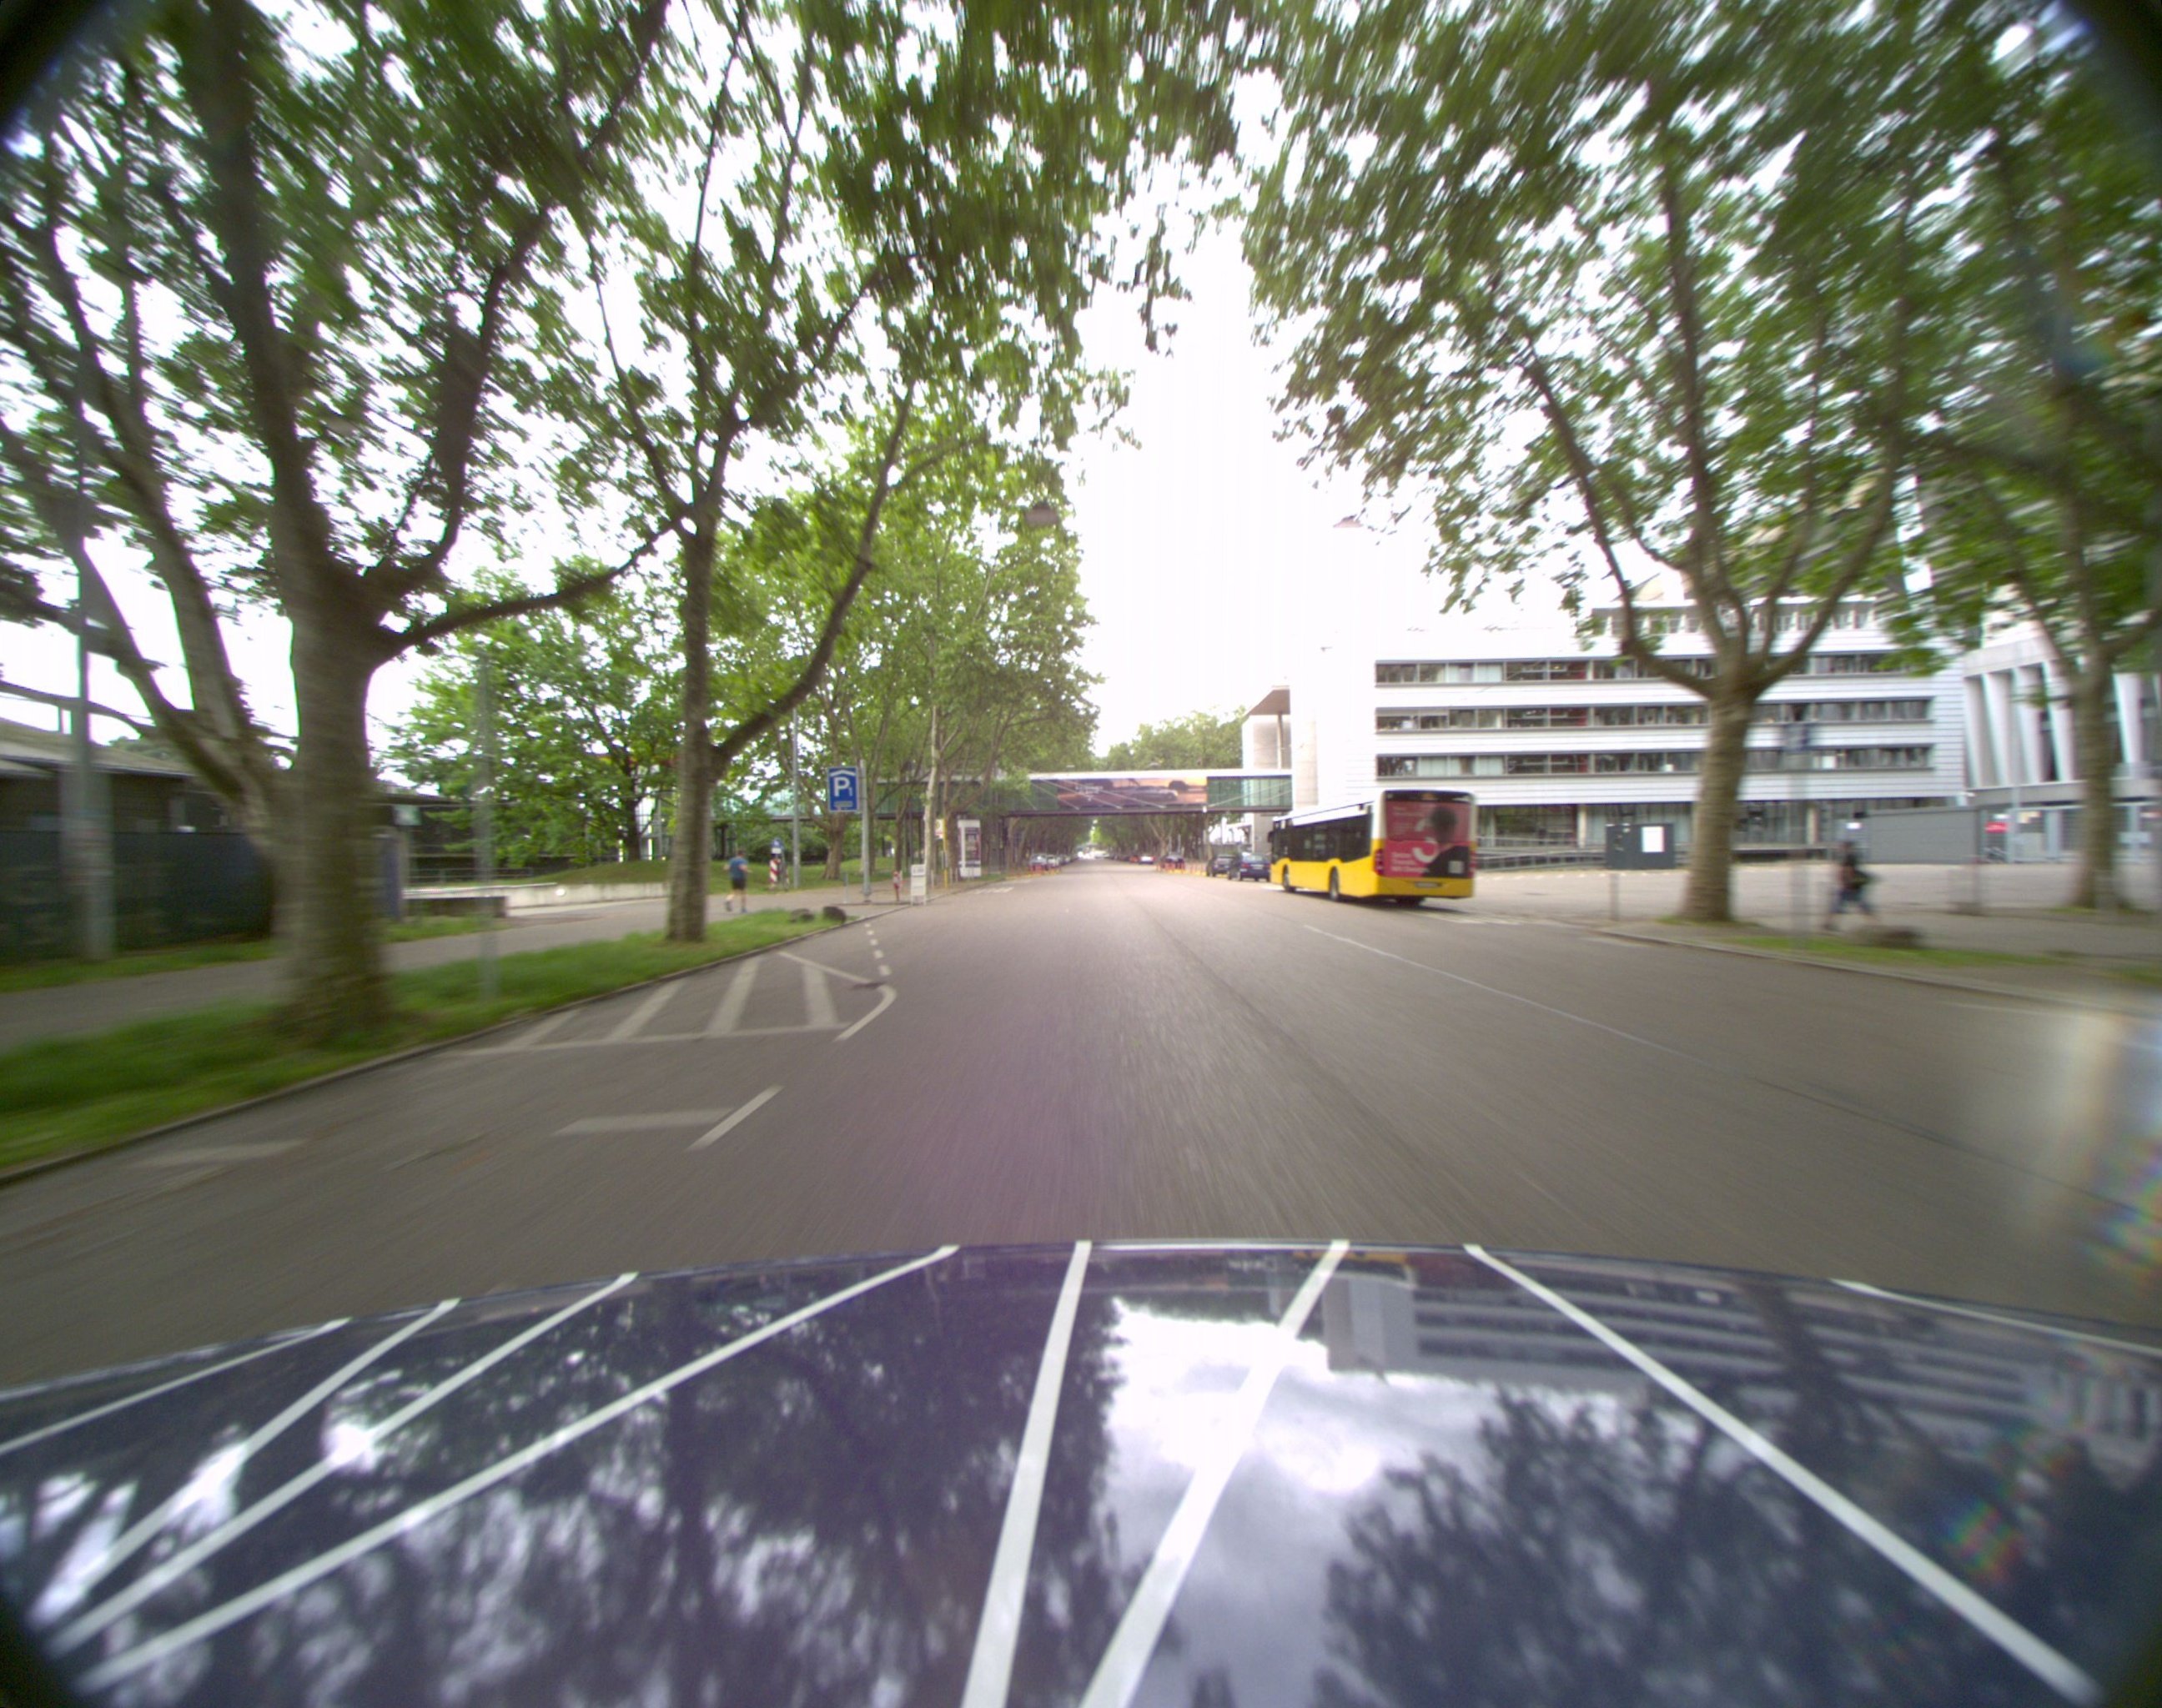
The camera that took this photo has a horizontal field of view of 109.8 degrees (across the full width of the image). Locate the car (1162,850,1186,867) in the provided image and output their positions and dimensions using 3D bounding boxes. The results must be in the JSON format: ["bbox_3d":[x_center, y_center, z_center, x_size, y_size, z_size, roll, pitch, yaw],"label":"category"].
[{"bbox_3d":[9.739,0.446,79.528,1.929,1.721,4.233,2,1,0],"label":"car"}]

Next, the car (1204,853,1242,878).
[{"bbox_3d":[9.468,0.726,50.971,1.758,1.505,4.009,2,1,0],"label":"car"}]

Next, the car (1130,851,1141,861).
[{"bbox_3d":[9.522,0.305,133.092,1.757,1.652,4.000,-2,1,1],"label":"car"}]

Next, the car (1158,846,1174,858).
[{"bbox_3d":[11.115,-0.229,99.386,1.661,1.461,3.802,2,1,0],"label":"car"}]

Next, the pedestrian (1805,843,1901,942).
[{"bbox_3d":[12.934,0.619,12.752,0.663,1.580,0.912,-2,1,0],"label":"pedestrian"}]

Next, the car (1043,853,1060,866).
[{"bbox_3d":[-3.612,0.646,92.317,1.921,1.561,4.497,-1,1,-1],"label":"car"}]

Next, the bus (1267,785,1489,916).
[{"bbox_3d":[8.733,-0.153,24.657,2.658,3.136,12.369,2,1,2],"label":"bus"}]

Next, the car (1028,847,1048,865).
[{"bbox_3d":[-4.191,0.183,75.154,1.757,1.687,4.497,-1,1,-1],"label":"car"}]

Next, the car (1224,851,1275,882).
[{"bbox_3d":[9.307,0.657,42.374,1.758,1.557,4.386,3,1,-1],"label":"car"}]

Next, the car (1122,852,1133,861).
[{"bbox_3d":[9.272,0.504,151.072,1.921,1.561,4.497,-1,1,-1],"label":"car"}]

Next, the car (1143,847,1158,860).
[{"bbox_3d":[9.834,-0.074,108.314,1.757,1.652,4.000,-2,1,1],"label":"car"}]

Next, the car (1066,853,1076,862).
[{"bbox_3d":[-1.869,0.698,140.207,1.921,1.561,4.497,-1,1,-1],"label":"car"}]

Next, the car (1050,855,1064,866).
[{"bbox_3d":[-3.639,0.933,115.404,1.921,1.561,4.497,-1,1,-1],"label":"car"}]

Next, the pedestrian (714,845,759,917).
[{"bbox_3d":[-9.885,0.754,21.843,0.710,2.002,0.882,-2,1,10],"label":"pedestrian"}]
